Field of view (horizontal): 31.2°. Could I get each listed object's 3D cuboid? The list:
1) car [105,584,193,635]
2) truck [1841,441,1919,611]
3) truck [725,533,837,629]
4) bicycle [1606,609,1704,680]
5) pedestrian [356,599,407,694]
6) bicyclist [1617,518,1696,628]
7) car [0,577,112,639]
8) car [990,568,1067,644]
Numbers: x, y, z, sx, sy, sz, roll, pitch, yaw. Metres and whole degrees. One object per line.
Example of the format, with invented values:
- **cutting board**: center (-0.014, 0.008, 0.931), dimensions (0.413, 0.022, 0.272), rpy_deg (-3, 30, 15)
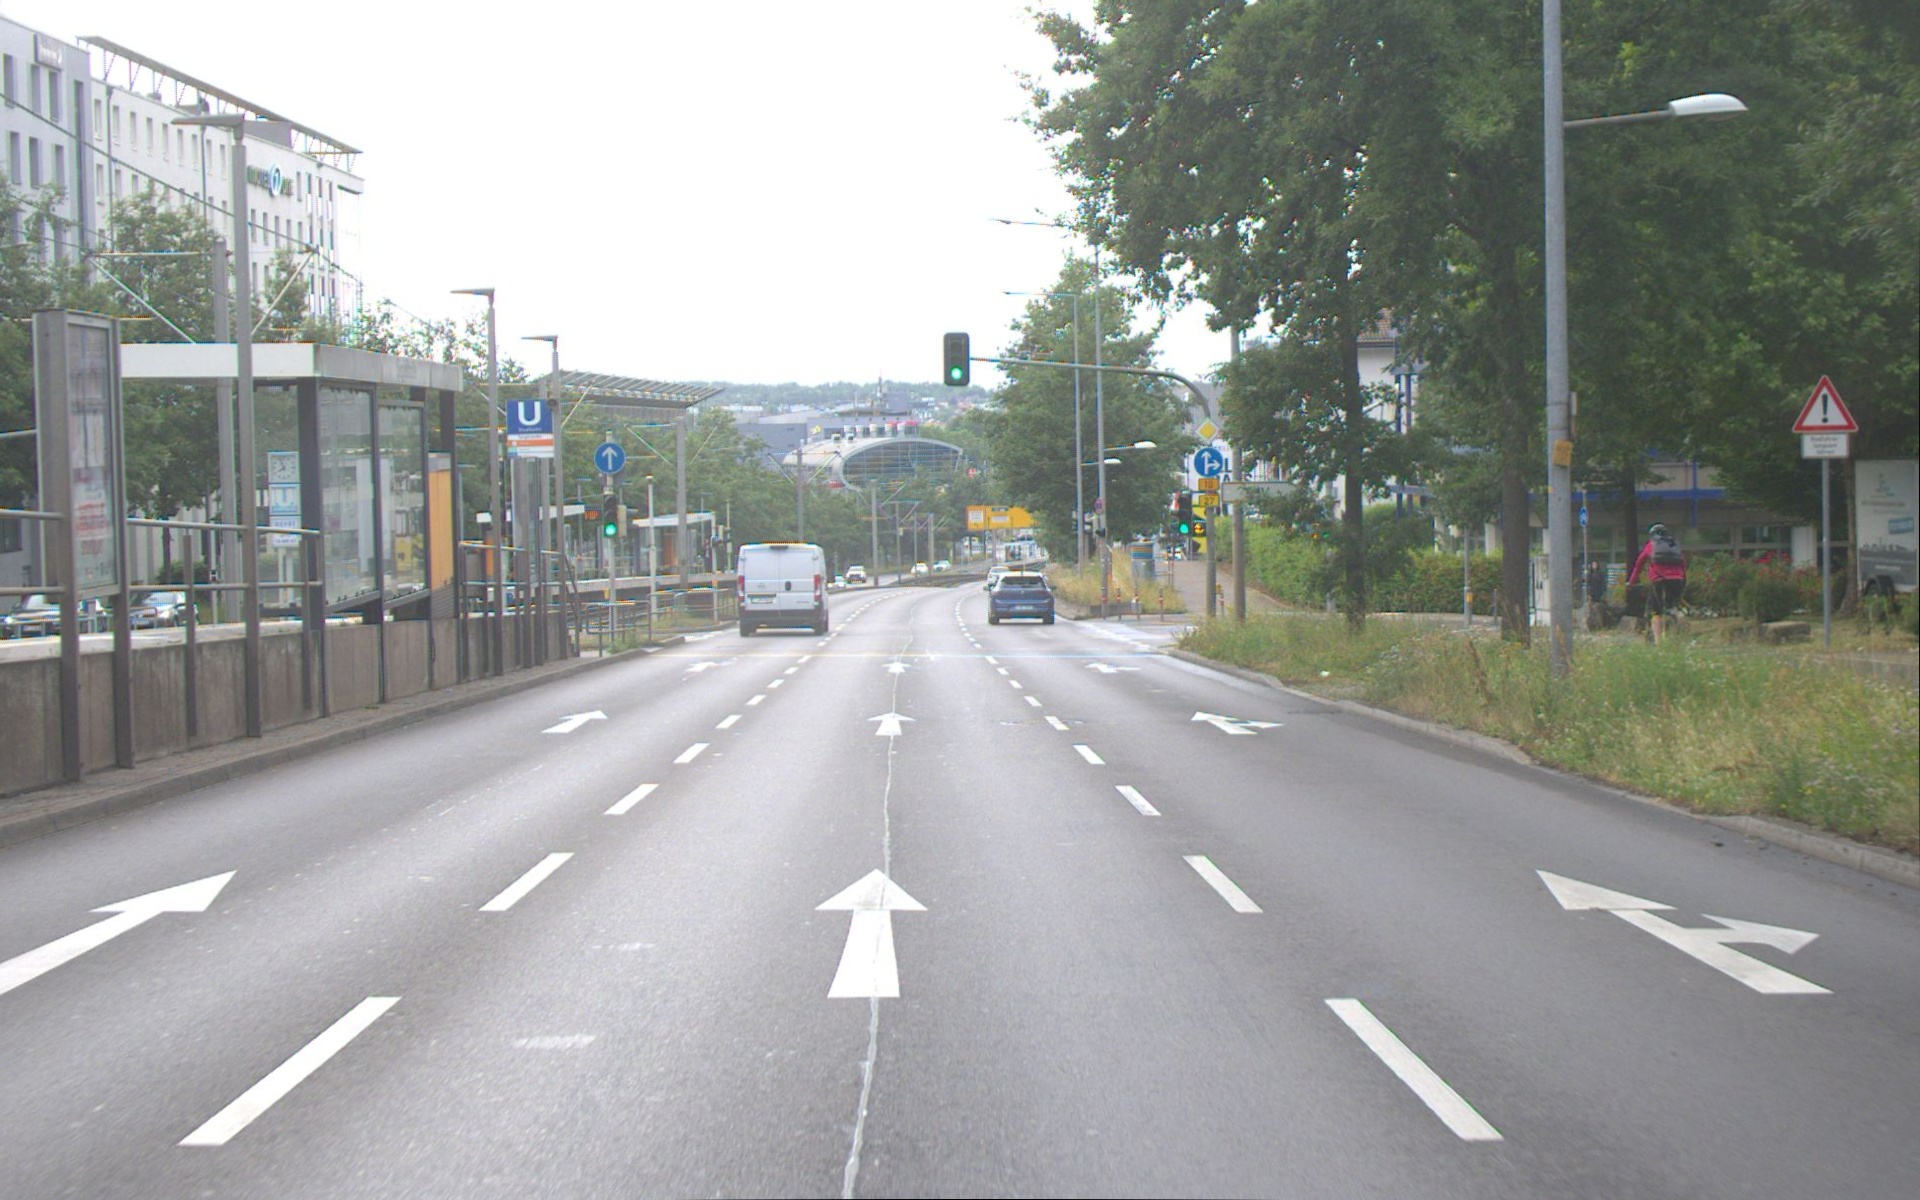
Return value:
- **car**: center (-23.498, 0.256, 99.687), dimensions (1.728, 1.418, 3.780), rpy_deg (-1, 1, -1)
- **truck**: center (14.973, -1.090, 52.495), dimensions (1.746, 2.509, 4.001), rpy_deg (1, 0, -4)
- **truck**: center (-4.356, -0.467, 84.491), dimensions (2.360, 2.254, 5.305), rpy_deg (1, 0, 1)
- **bicycle**: center (8.326, 0.527, 41.293), dimensions (0.667, 0.806, 2.318), rpy_deg (1, 0, -1)
- **pedestrian**: center (-10.136, 0.806, 60.241), dimensions (0.700, 1.645, 0.649), rpy_deg (0, 1, -29)
- **bicyclist**: center (8.346, -0.325, 41.237), dimensions (0.655, 1.284, 1.219), rpy_deg (1, 0, -1)
- **car**: center (-22.785, 0.188, 86.688), dimensions (1.853, 1.422, 4.389), rpy_deg (-2, 1, -3)
- **car**: center (1.909, 0.156, 95.054), dimensions (1.994, 2.007, 3.934), rpy_deg (1, 0, 3)
